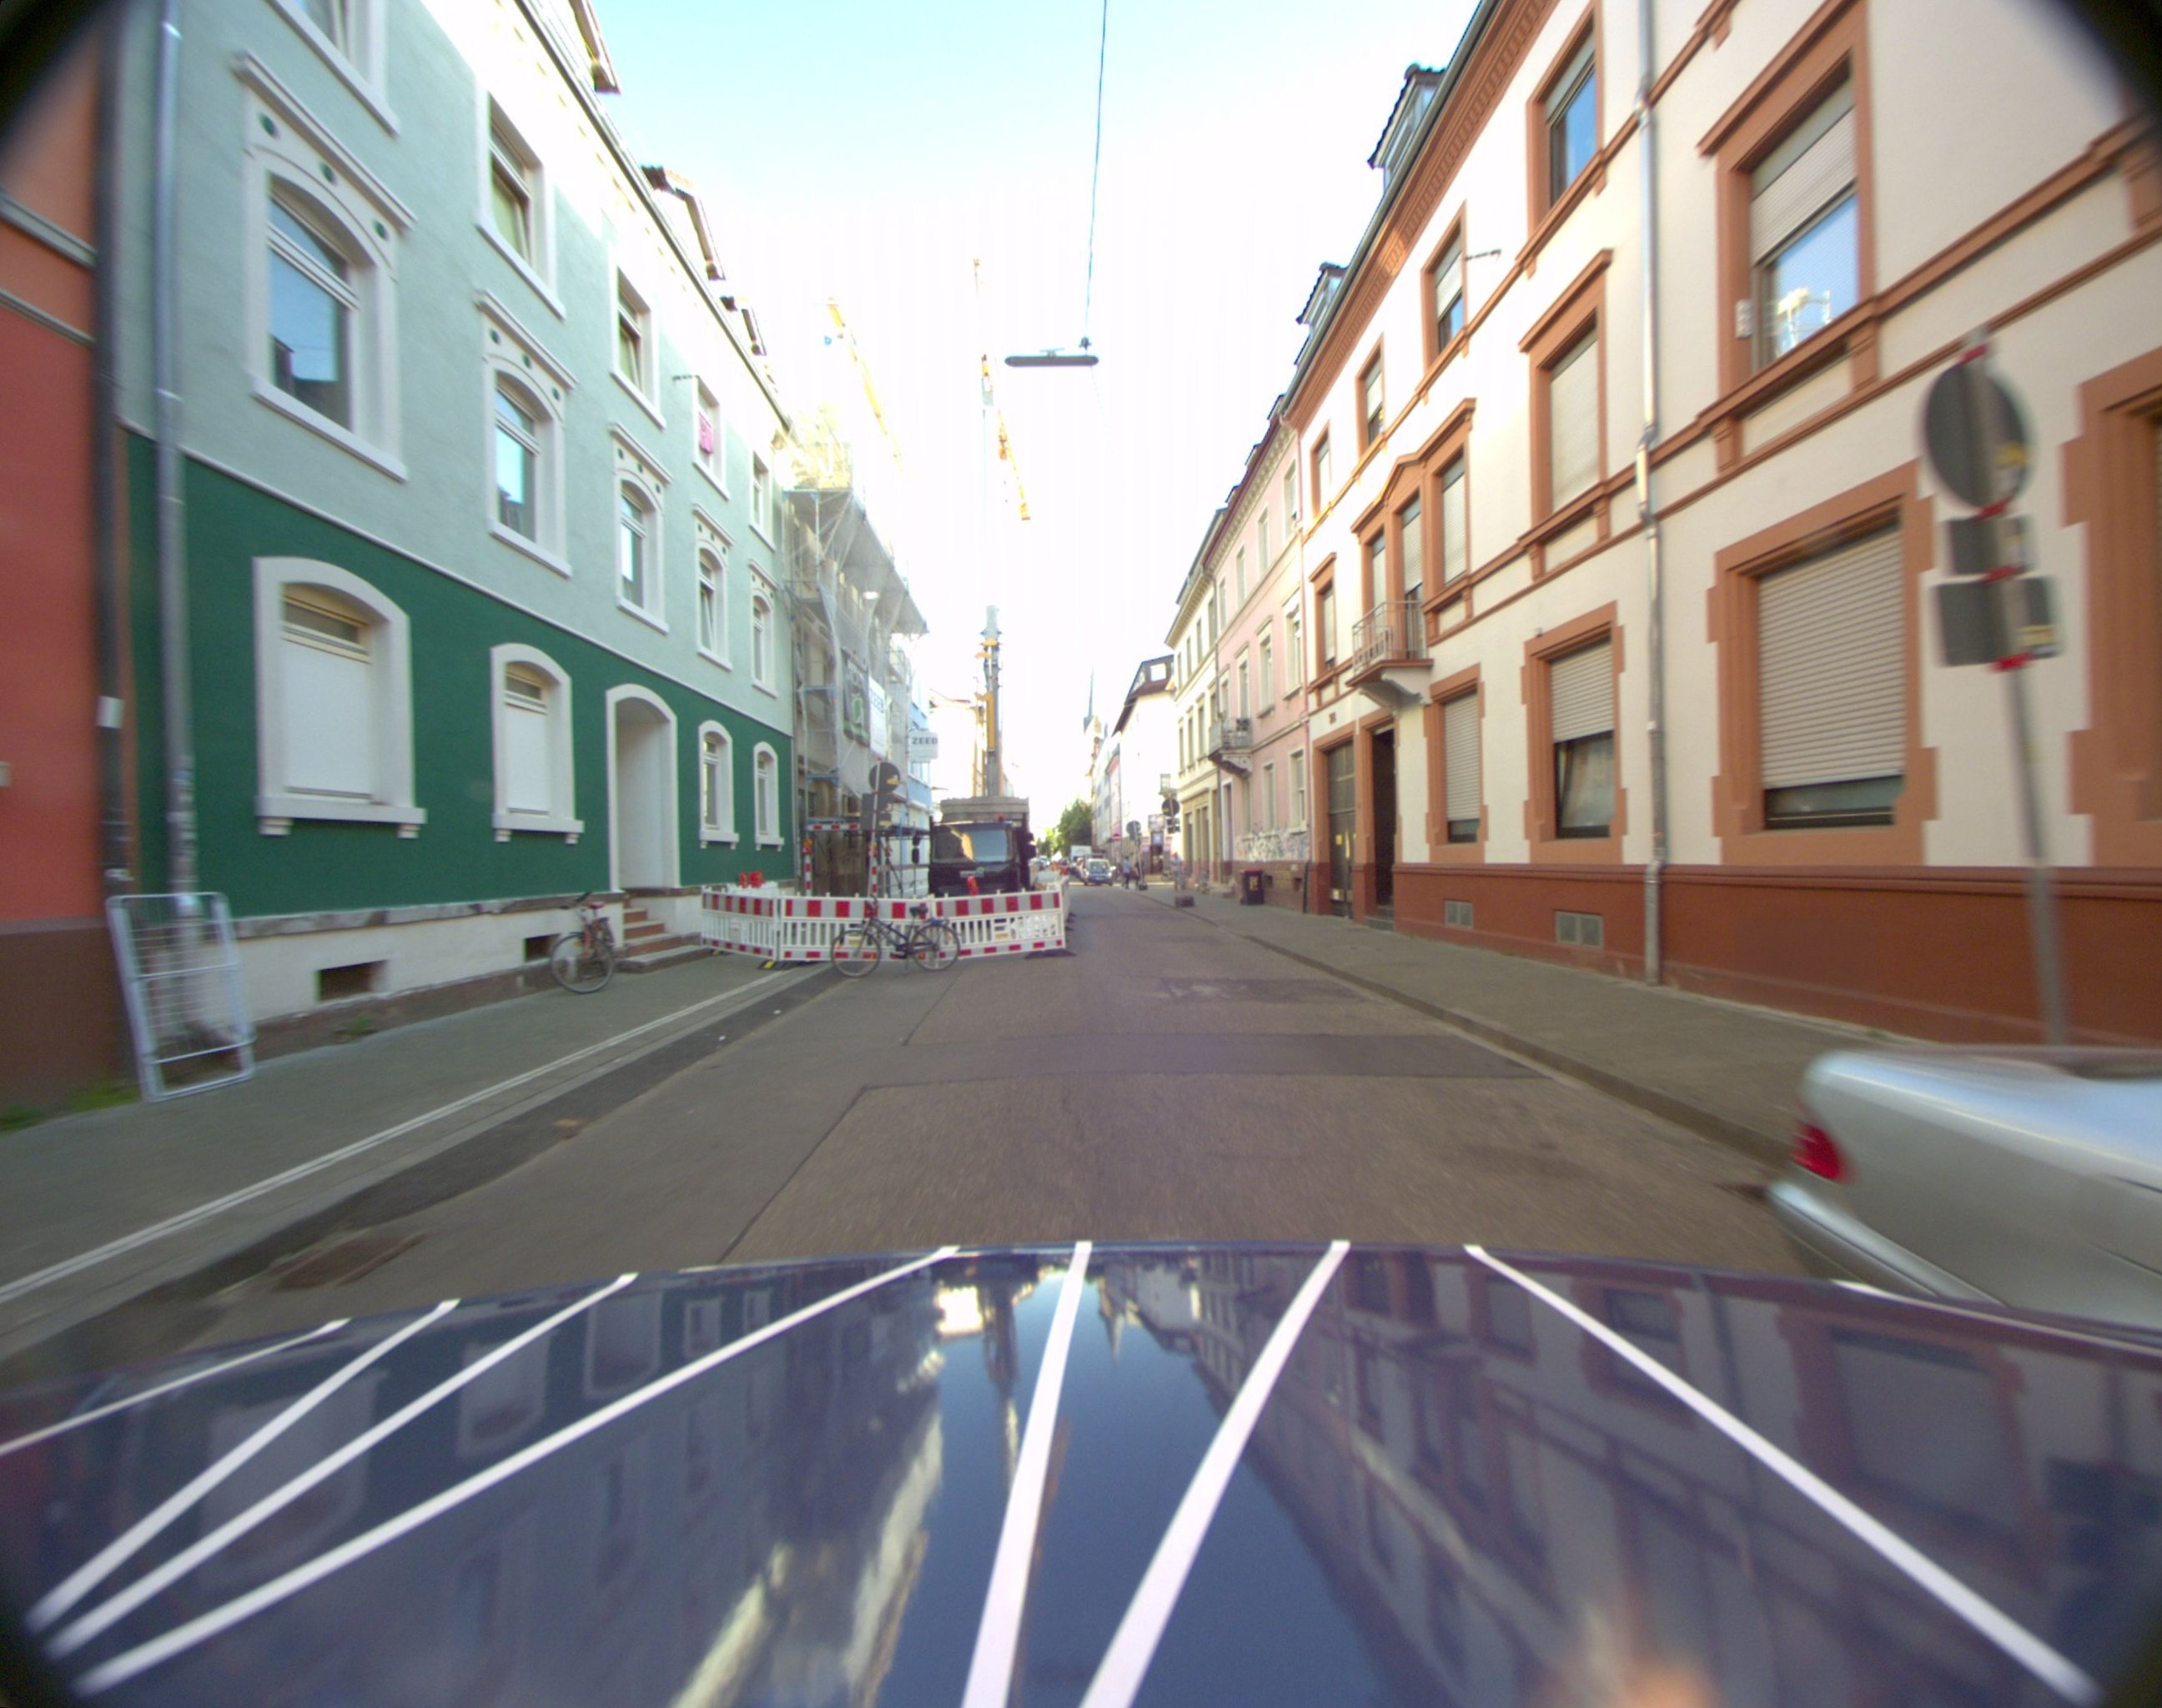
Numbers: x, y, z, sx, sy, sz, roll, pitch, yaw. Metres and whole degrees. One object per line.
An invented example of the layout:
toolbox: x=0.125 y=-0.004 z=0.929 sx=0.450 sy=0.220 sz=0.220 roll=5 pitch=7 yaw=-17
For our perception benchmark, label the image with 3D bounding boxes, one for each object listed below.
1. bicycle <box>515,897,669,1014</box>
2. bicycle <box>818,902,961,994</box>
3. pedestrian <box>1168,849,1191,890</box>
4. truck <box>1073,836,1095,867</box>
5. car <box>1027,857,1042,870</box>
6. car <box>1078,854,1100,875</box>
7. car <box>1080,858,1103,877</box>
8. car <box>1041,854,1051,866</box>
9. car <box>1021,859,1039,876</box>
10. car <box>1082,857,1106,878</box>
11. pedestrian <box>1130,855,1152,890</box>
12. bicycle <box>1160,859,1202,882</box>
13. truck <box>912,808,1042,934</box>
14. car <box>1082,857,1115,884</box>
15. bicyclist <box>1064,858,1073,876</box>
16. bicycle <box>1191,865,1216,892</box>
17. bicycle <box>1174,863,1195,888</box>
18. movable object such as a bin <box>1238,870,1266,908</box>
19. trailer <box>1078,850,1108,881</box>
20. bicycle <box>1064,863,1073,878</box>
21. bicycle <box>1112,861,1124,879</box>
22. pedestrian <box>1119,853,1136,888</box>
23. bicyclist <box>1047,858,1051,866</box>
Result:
bicycle: x=-5.761 y=1.147 z=9.090 sx=0.656 sy=1.122 sz=1.834 roll=3 pitch=0 yaw=-2
bicycle: x=-2.655 y=1.296 z=10.720 sx=1.855 sy=1.104 sz=0.643 roll=-3 pitch=1 yaw=-8
pedestrian: x=4.189 y=0.669 z=32.315 sx=0.695 sy=1.691 sz=0.865 roll=-6 pitch=-1 yaw=-2
truck: x=0.301 y=-0.293 z=83.090 sx=2.297 sy=3.165 sz=7.043 roll=-1 pitch=0 yaw=-1
car: x=-5.318 y=1.093 z=87.020 sx=1.613 sy=1.387 sz=3.880 roll=0 pitch=0 yaw=-2
car: x=0.699 y=0.931 z=68.778 sx=1.807 sy=1.834 sz=4.243 roll=-1 pitch=0 yaw=-2
car: x=0.870 y=1.083 z=63.412 sx=1.678 sy=1.488 sz=4.529 roll=0 pitch=0 yaw=-2
car: x=-8.191 y=1.326 z=177.278 sx=1.999 sy=2.777 sz=4.561 roll=-3 pitch=1 yaw=-5
car: x=-5.365 y=1.403 z=80.138 sx=1.714 sy=1.721 sz=4.406 roll=0 pitch=0 yaw=-2
car: x=0.964 y=1.037 z=58.538 sx=1.681 sy=1.545 sz=3.817 roll=0 pitch=0 yaw=-2
pedestrian: x=3.073 y=0.943 z=39.155 sx=0.829 sy=1.782 sz=0.989 roll=1 pitch=1 yaw=-12
bicycle: x=6.211 y=1.037 z=47.354 sx=2.482 sy=1.351 sz=0.928 roll=-1 pitch=1 yaw=-1
truck: x=-2.589 y=0.376 z=21.266 sx=2.668 sy=2.798 sz=7.391 roll=-3 pitch=0 yaw=-1
car: x=1.043 y=1.015 z=47.077 sx=1.727 sy=1.596 sz=4.165 roll=0 pitch=0 yaw=-3
bicyclist: x=-0.995 y=1.065 z=61.708 sx=0.710 sy=1.427 sz=0.789 roll=-1 pitch=0 yaw=0
bicycle: x=4.898 y=0.968 z=30.510 sx=0.624 sy=1.016 sz=1.818 roll=-3 pitch=0 yaw=-1
bicycle: x=4.756 y=0.992 z=35.113 sx=0.605 sy=1.016 sz=1.817 roll=-5 pitch=1 yaw=-1
movable object such as a bin: x=4.886 y=0.981 z=21.686 sx=0.607 sy=1.029 sz=0.596 roll=-3 pitch=1 yaw=-3
trailer: x=0.811 y=0.736 z=52.183 sx=1.666 sy=2.049 sz=4.362 roll=0 pitch=0 yaw=-4
bicycle: x=-1.001 y=1.338 z=61.733 sx=0.710 sy=1.105 sz=1.935 roll=-1 pitch=0 yaw=0
bicycle: x=2.527 y=1.097 z=52.103 sx=0.578 sy=1.132 sz=1.460 roll=-3 pitch=1 yaw=-7
pedestrian: x=2.509 y=0.868 z=40.933 sx=0.771 sy=1.839 sz=0.780 roll=-3 pitch=1 yaw=-1
bicyclist: x=-6.757 y=1.583 z=160.213 sx=0.716 sy=1.650 sz=0.876 roll=-3 pitch=1 yaw=-4
